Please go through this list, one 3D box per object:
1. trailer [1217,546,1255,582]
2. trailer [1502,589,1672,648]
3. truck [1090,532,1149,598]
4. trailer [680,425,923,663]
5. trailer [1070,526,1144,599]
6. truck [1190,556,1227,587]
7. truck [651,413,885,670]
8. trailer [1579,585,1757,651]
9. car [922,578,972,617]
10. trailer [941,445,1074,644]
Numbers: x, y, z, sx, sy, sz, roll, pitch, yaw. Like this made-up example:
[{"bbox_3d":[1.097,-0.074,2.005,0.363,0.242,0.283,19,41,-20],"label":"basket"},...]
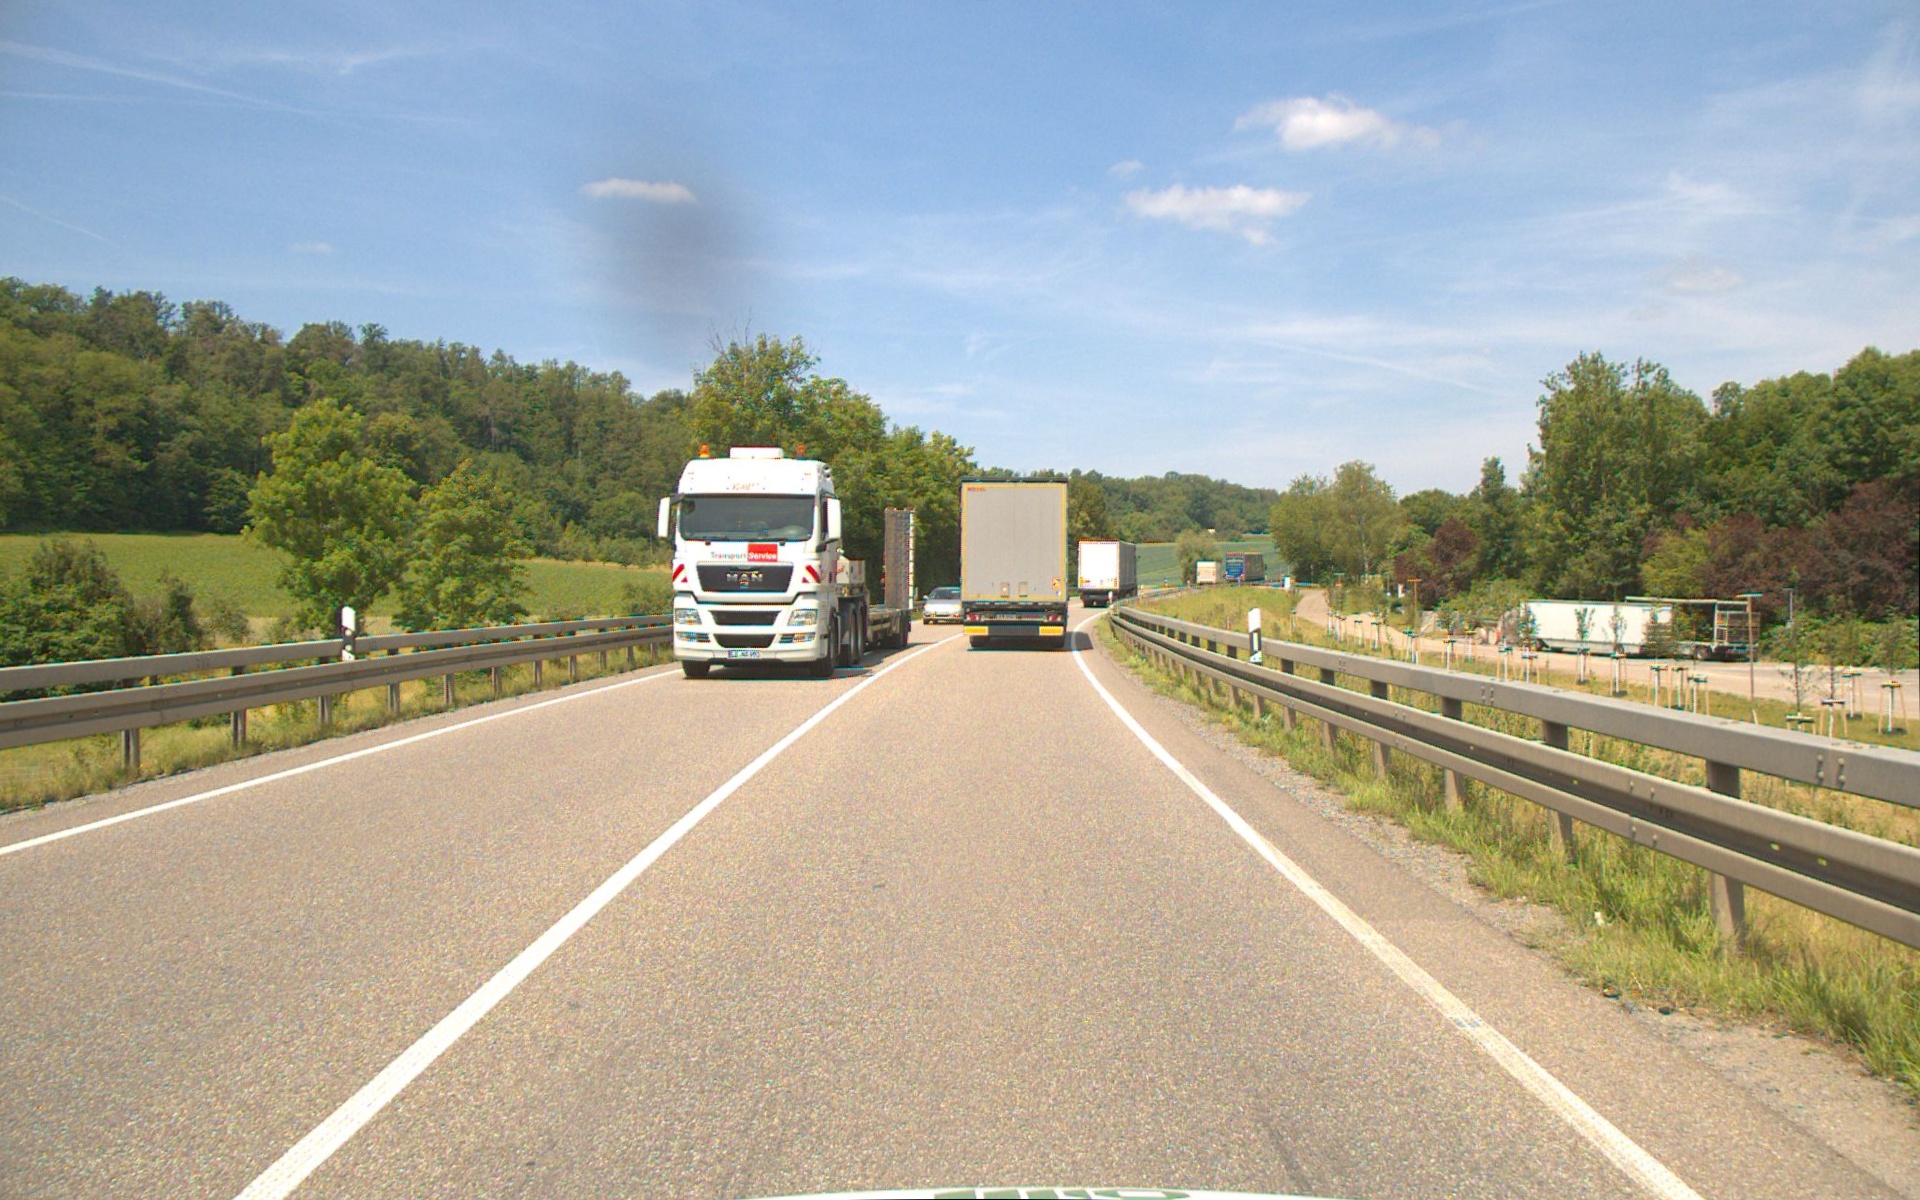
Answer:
[{"bbox_3d":[34.990,-4.512,209.187,3.570,4.337,12.203,0,0,15],"label":"trailer"},{"bbox_3d":[39.349,1.056,104.423,2.682,3.385,11.812,0,1,-23],"label":"trailer"},{"bbox_3d":[10.922,-2.323,112.830,3.293,4.392,6.746,0,0,12],"label":"truck"},{"bbox_3d":[-2.871,-1.068,35.854,3.053,4.049,15.363,0,1,3],"label":"trailer"},{"bbox_3d":[9.594,-2.284,106.243,3.293,4.392,13.876,0,0,11],"label":"trailer"},{"bbox_3d":[28.109,-3.162,186.922,3.154,3.424,11.885,0,0,13],"label":"truck"},{"bbox_3d":[-3.172,-0.966,29.295,3.053,4.026,6.625,0,1,3],"label":"truck"},{"bbox_3d":[43.465,1.026,102.172,2.679,3.669,11.822,1,1,-21],"label":"trailer"},{"bbox_3d":[-0.485,-0.120,66.071,1.731,1.520,4.172,0,0,3],"label":"car"},{"bbox_3d":[1.461,-1.426,45.164,3.053,4.578,13.893,0,1,3],"label":"trailer"}]
